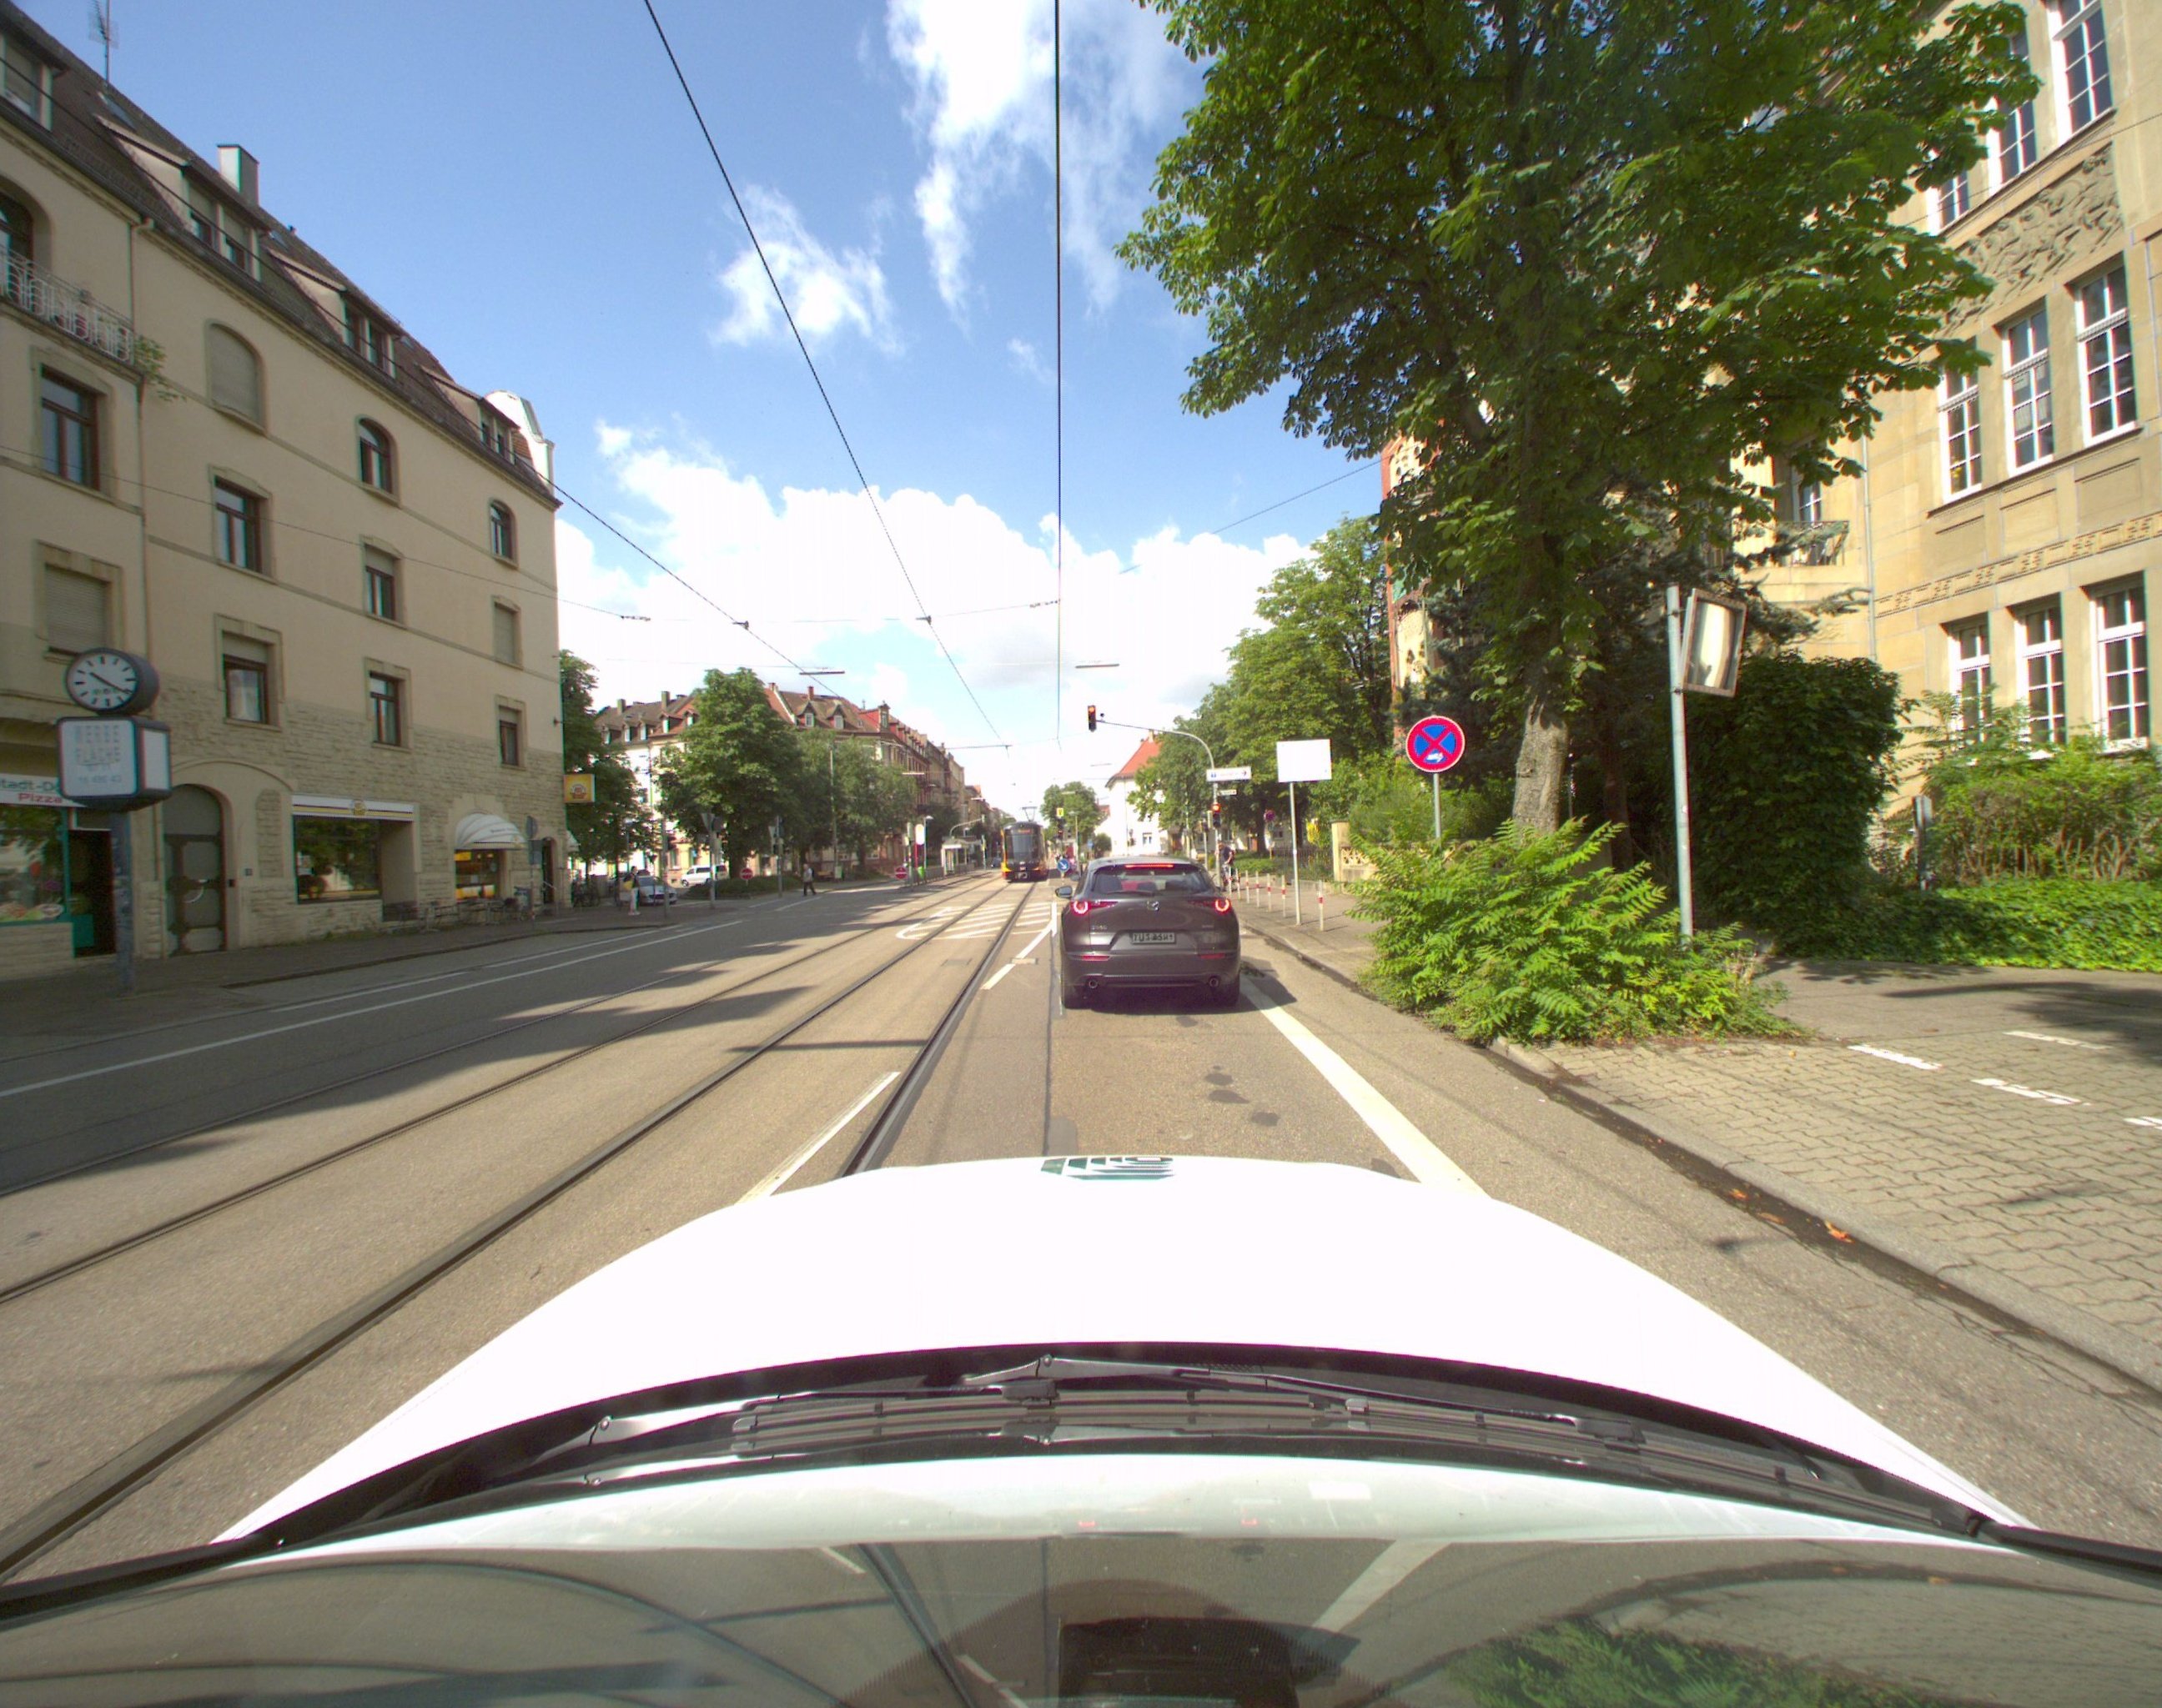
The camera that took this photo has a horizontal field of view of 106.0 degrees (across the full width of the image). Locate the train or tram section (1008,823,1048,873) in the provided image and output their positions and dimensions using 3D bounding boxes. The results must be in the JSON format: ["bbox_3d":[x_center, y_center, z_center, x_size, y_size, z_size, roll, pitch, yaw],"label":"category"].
[{"bbox_3d":[-4.152,-0.549,66.682,2.746,3.490,14.396,-3,1,-2],"label":"train or tram section"}]

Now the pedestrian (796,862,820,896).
[{"bbox_3d":[-14.161,1.268,42.253,0.815,1.705,0.722,-2,0,13],"label":"pedestrian"}]

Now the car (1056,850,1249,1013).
[{"bbox_3d":[0.707,0.713,9.545,1.772,1.499,4.001,0,0,1],"label":"car"}]

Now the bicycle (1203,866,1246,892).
[{"bbox_3d":[5.076,0.887,28.719,1.708,0.824,0.488,-2,0,-40],"label":"bicycle"}]

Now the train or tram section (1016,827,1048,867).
[{"bbox_3d":[-4.704,-0.772,81.086,2.746,3.490,14.396,-3,1,-2],"label":"train or tram section"}]

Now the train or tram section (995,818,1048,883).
[{"bbox_3d":[-3.589,-0.308,52.299,2.746,3.490,14.396,-3,1,-2],"label":"train or tram section"}]

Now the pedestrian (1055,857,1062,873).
[{"bbox_3d":[-1.516,0.728,54.513,0.379,1.071,0.474,-2,0,-3],"label":"pedestrian"}]

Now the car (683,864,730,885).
[{"bbox_3d":[-36.898,2.036,80.232,3.950,1.903,2.012,-2,0,26],"label":"car"}]

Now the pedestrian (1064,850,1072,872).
[{"bbox_3d":[-0.880,0.477,54.716,0.449,1.434,0.474,-2,0,-3],"label":"pedestrian"}]

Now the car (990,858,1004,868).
[{"bbox_3d":[-11.720,1.299,113.848,1.610,1.310,3.625,-2,0,-2],"label":"car"}]

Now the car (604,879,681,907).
[{"bbox_3d":[-21.248,1.890,39.427,3.948,1.182,1.689,-2,0,35],"label":"car"}]

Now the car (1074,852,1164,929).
[{"bbox_3d":[0.795,0.718,18.155,1.772,1.499,4.001,0,0,1],"label":"car"}]

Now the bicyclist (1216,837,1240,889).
[{"bbox_3d":[5.135,0.308,28.462,0.608,1.793,0.656,-2,0,-8],"label":"bicyclist"}]

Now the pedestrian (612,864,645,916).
[{"bbox_3d":[-15.672,1.224,28.225,0.683,1.754,0.798,-2,0,-10],"label":"pedestrian"}]
